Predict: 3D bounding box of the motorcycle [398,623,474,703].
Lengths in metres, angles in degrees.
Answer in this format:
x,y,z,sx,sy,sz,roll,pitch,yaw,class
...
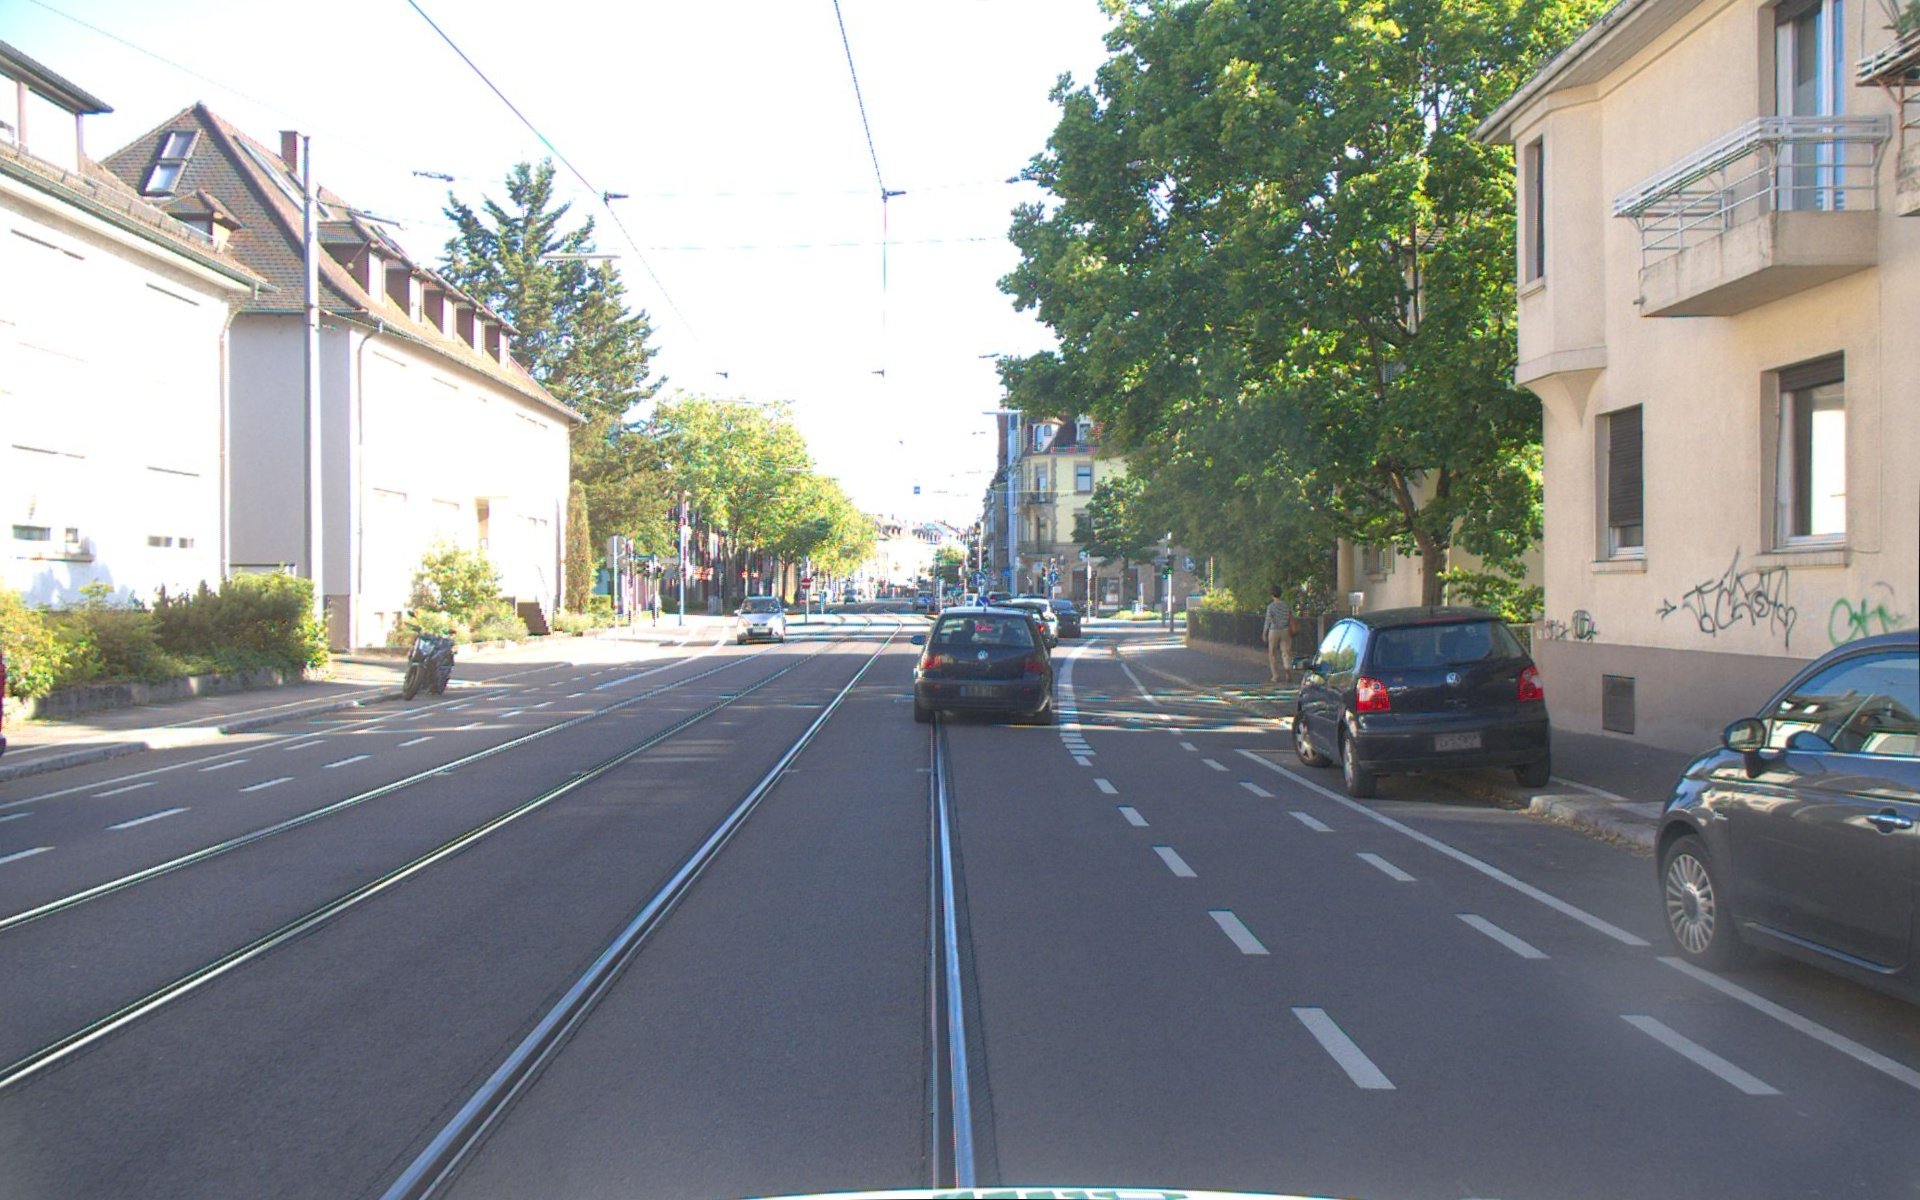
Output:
x,y,z,sx,sy,sz,roll,pitch,yaw,class
-8.452,0.996,26.777,0.525,1.183,2.171,-2,0,-1,motorcycle

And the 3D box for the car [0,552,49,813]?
x,y,z,sx,sy,sz,roll,pitch,yaw,class
-8.476,0.639,11.155,1.867,2.049,4.949,1,0,0,car

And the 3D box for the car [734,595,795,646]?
x,y,z,sx,sy,sz,roll,pitch,yaw,class
-6.186,0.628,52.568,1.543,1.503,3.440,-1,0,-1,car

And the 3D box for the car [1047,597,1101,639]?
x,y,z,sx,sy,sz,roll,pitch,yaw,class
4.195,0.639,61.345,1.538,1.334,3.645,-1,3,-3,car

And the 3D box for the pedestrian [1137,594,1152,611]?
x,y,z,sx,sy,sz,roll,pitch,yaw,class
13.182,0.201,118.125,0.960,1.208,0.743,0,0,-2,pedestrian

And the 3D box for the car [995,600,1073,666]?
x,y,z,sx,sy,sz,roll,pitch,yaw,class
1.669,0.729,38.189,1.601,1.396,3.757,-1,0,0,car

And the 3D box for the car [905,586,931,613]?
x,y,z,sx,sy,sz,roll,pitch,yaw,class
-3.057,-0.048,119.702,1.751,1.892,3.998,2,0,-3,car

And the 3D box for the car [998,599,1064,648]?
x,y,z,sx,sy,sz,roll,pitch,yaw,class
2.286,0.723,52.418,1.702,1.466,3.813,0,0,8,car

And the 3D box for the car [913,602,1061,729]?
x,y,z,sx,sy,sz,roll,pitch,yaw,class
0.347,0.759,21.141,1.680,1.427,4.007,1,0,1,car

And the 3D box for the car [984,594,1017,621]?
x,y,z,sx,sy,sz,roll,pitch,yaw,class
2.291,0.421,94.967,1.647,1.479,3.377,0,0,-3,car

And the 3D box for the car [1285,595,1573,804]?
x,y,z,sx,sy,sz,roll,pitch,yaw,class
3.958,0.774,14.562,1.631,1.591,3.772,-1,0,3,car

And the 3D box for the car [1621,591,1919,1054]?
x,y,z,sx,sy,sz,roll,pitch,yaw,class
4.002,0.764,6.079,1.569,1.552,3.547,1,0,-3,car

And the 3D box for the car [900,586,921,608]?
x,y,z,sx,sy,sz,roll,pitch,yaw,class
-4.333,-0.315,145.206,1.751,1.892,3.998,0,0,-3,car

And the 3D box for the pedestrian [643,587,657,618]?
x,y,z,sx,sy,sz,roll,pitch,yaw,class
-17.226,0.142,91.909,0.600,1.719,0.729,2,0,-19,pedestrian

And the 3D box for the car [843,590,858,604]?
x,y,z,sx,sy,sz,roll,pitch,yaw,class
-14.736,-0.435,222.380,1.933,1.847,4.292,0,0,-5,car

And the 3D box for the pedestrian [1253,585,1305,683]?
x,y,z,sx,sy,sz,roll,pitch,yaw,class
5.718,0.597,29.692,0.703,1.717,0.870,-1,0,-2,pedestrian
